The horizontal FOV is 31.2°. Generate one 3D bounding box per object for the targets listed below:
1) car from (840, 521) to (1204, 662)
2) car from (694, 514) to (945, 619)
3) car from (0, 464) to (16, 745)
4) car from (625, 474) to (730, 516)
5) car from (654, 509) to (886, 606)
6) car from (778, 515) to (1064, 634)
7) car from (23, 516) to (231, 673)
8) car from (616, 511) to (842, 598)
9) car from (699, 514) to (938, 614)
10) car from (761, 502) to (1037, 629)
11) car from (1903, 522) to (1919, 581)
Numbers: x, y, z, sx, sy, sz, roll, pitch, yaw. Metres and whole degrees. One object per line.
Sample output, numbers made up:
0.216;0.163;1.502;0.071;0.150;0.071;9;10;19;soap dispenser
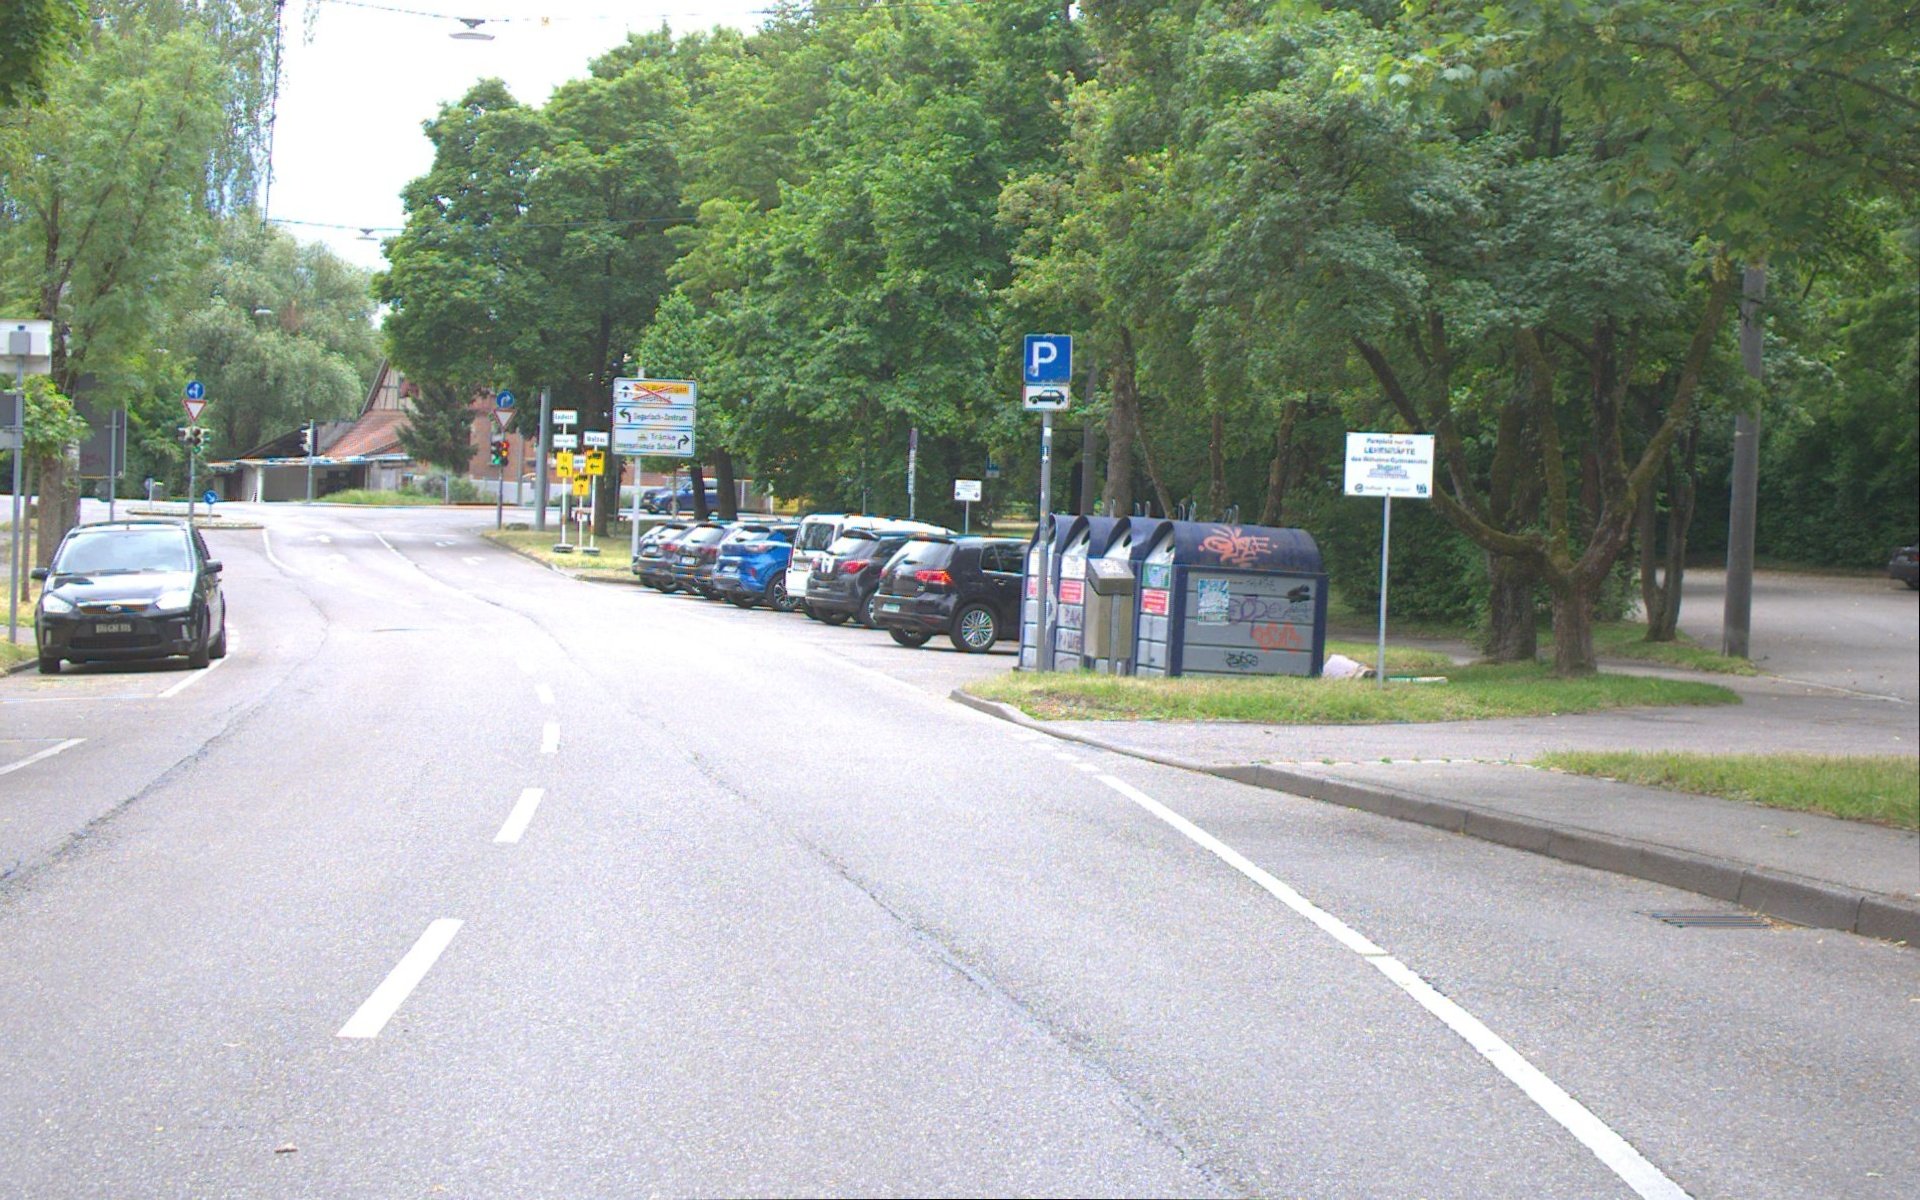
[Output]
0.781;-0.107;43.195;3.986;1.409;2.058;4;2;-30;car
-2.395;-0.577;58.702;3.818;1.523;1.747;4;0;-30;car
-7.241;0.065;21.083;1.857;1.902;5.084;1;1;-5;car
-11.779;-4.360;143.407;3.845;1.641;2.000;0;2;-31;car
-3.499;-0.776;63.523;3.818;1.523;1.747;4;0;-30;car
-0.573;-0.379;51.463;3.818;1.463;1.747;4;1;-30;car
-9.009;-0.106;37.483;1.804;1.557;4.268;-2;2;-9;car
-4.470;-0.879;66.555;3.872;1.421;1.830;4;0;-30;car
-2.534;-0.635;61.672;3.818;1.523;1.747;4;0;-30;car
-0.954;-0.538;54.127;3.818;1.714;1.878;4;0;-30;car
25.057;-1.132;83.053;3.986;1.405;1.800;1;1;-5;car
